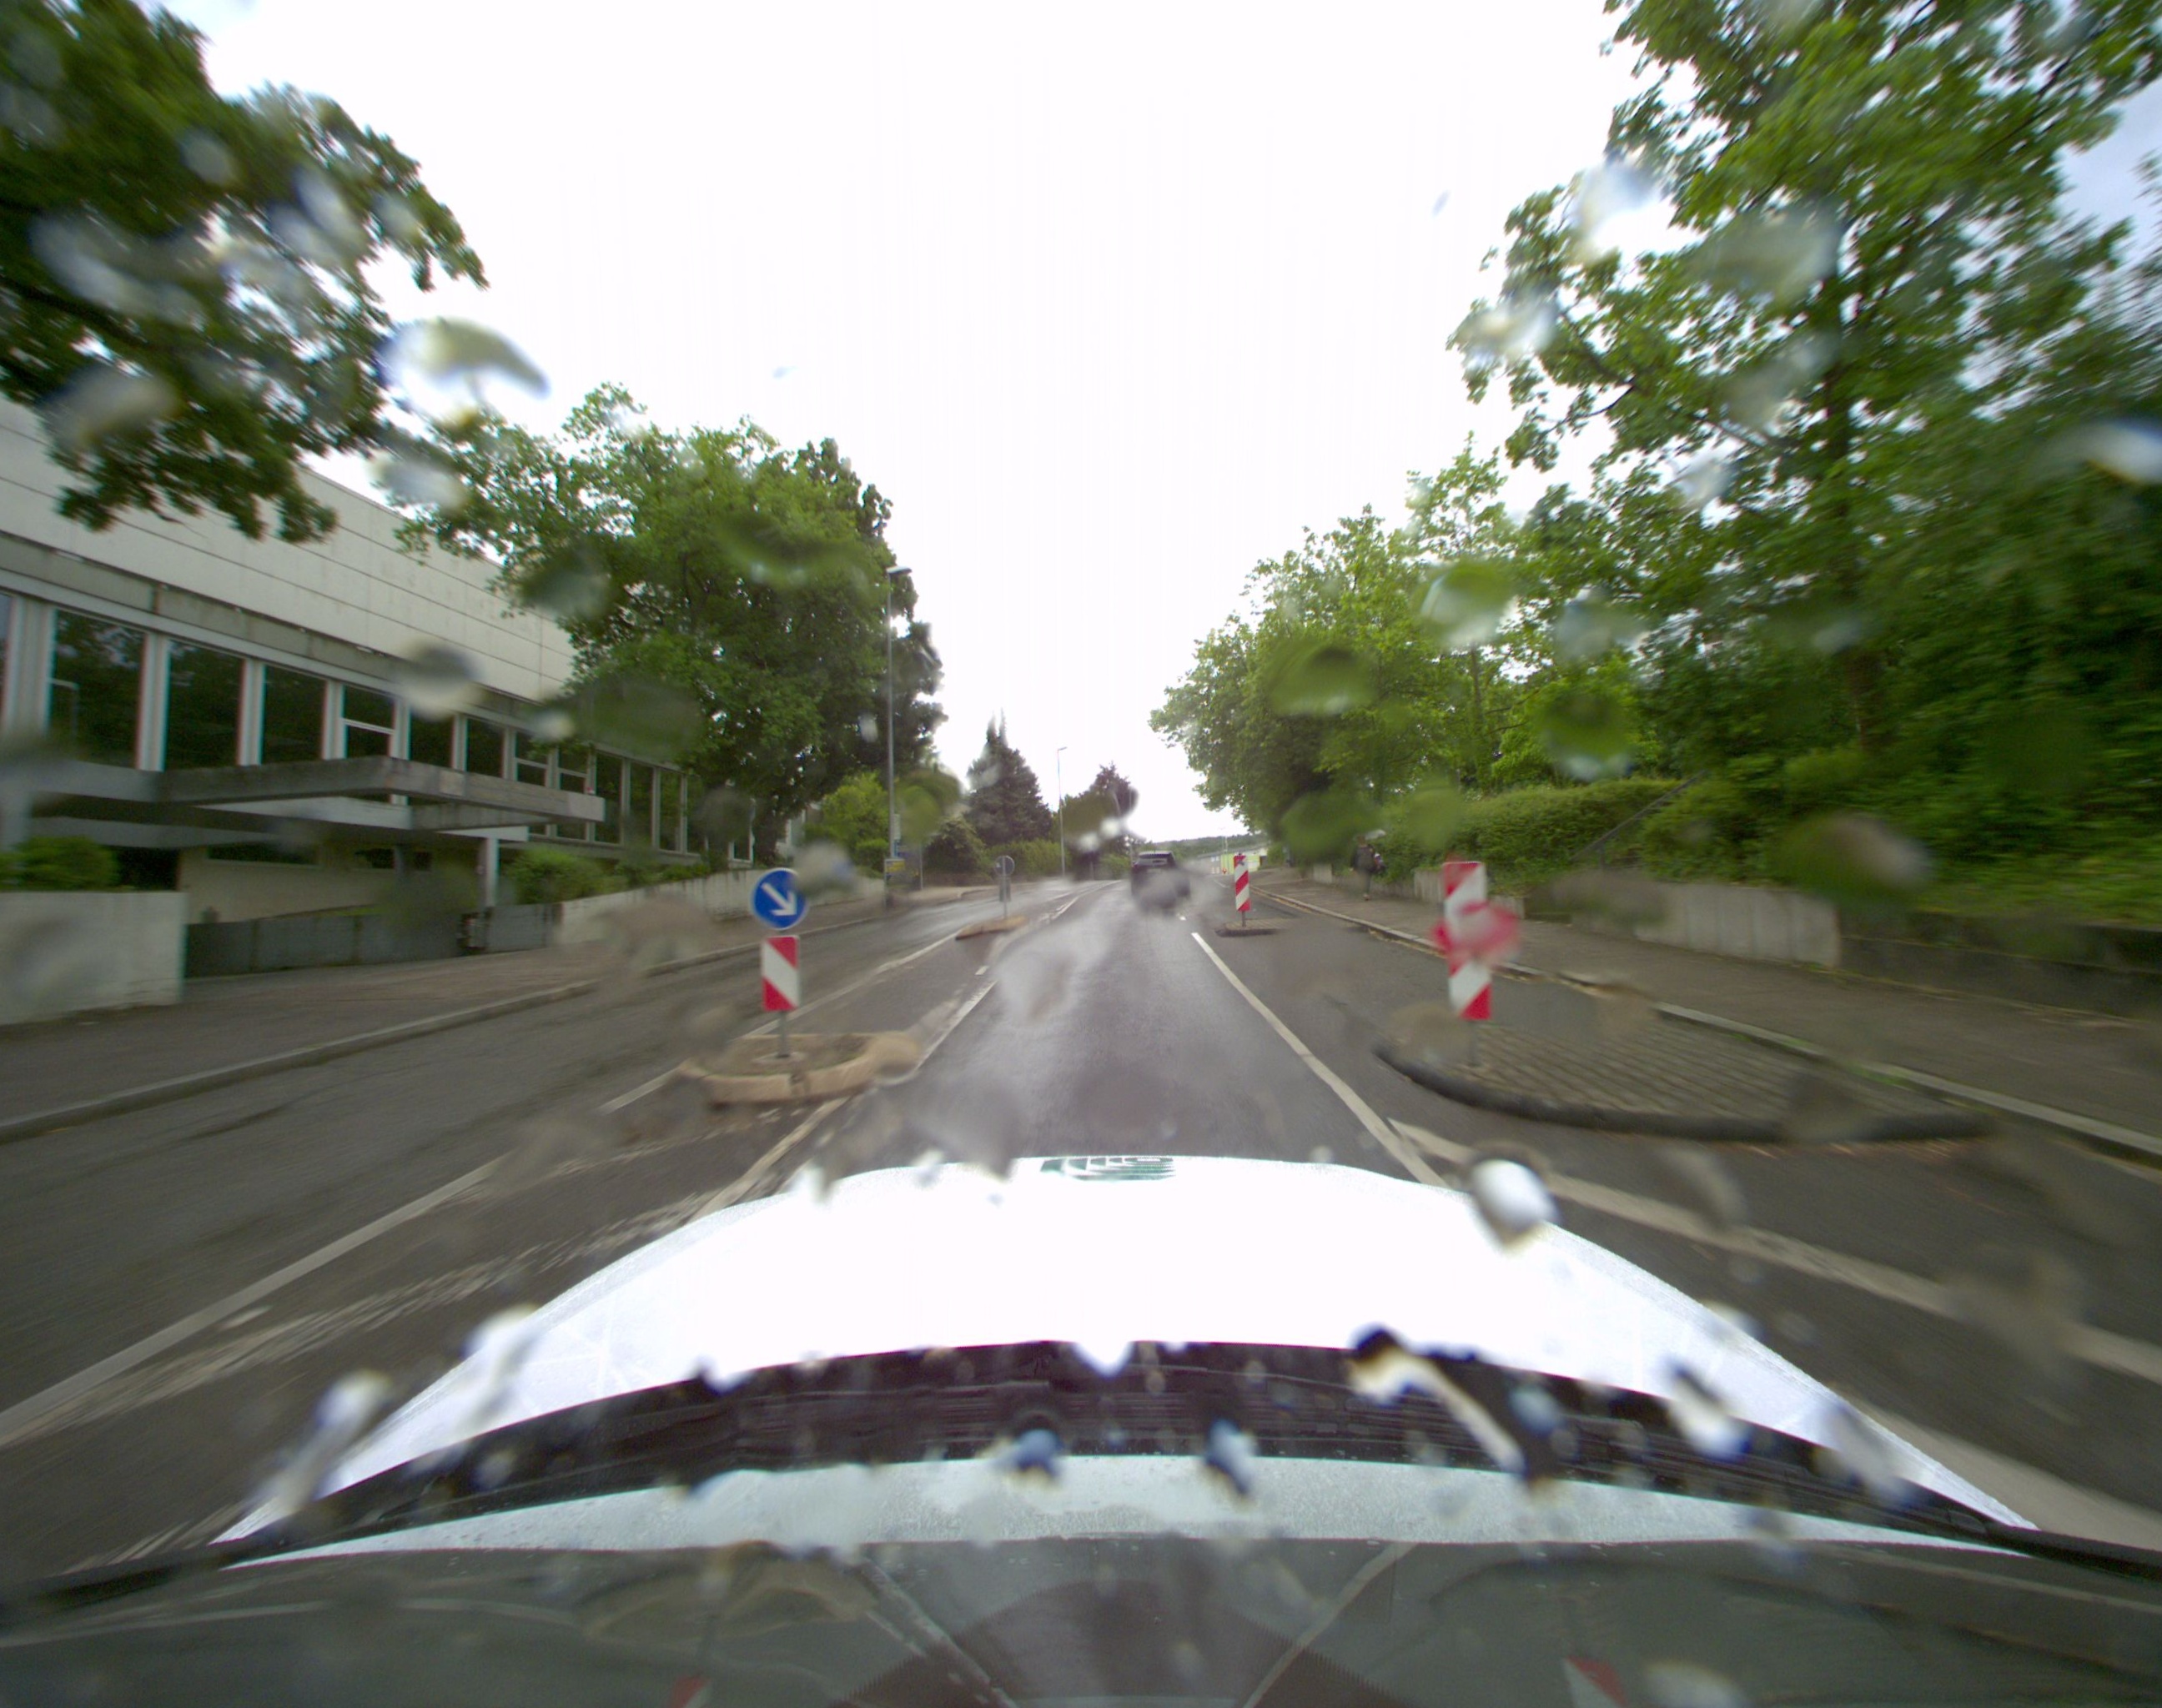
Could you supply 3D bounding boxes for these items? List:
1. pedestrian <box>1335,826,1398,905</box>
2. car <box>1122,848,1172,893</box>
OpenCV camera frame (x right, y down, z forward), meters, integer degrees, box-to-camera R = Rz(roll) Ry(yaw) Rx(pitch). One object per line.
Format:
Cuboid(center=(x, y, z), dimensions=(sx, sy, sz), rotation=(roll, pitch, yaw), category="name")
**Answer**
Cuboid(center=(7.131, 0.302, 20.395), dimensions=(1.048, 1.893, 1.132), rotation=(-2, -2, -3), category="pedestrian")
Cuboid(center=(2.582, 0.614, 32.259), dimensions=(1.782, 1.603, 4.257), rotation=(-2, 0, 3), category="car")
